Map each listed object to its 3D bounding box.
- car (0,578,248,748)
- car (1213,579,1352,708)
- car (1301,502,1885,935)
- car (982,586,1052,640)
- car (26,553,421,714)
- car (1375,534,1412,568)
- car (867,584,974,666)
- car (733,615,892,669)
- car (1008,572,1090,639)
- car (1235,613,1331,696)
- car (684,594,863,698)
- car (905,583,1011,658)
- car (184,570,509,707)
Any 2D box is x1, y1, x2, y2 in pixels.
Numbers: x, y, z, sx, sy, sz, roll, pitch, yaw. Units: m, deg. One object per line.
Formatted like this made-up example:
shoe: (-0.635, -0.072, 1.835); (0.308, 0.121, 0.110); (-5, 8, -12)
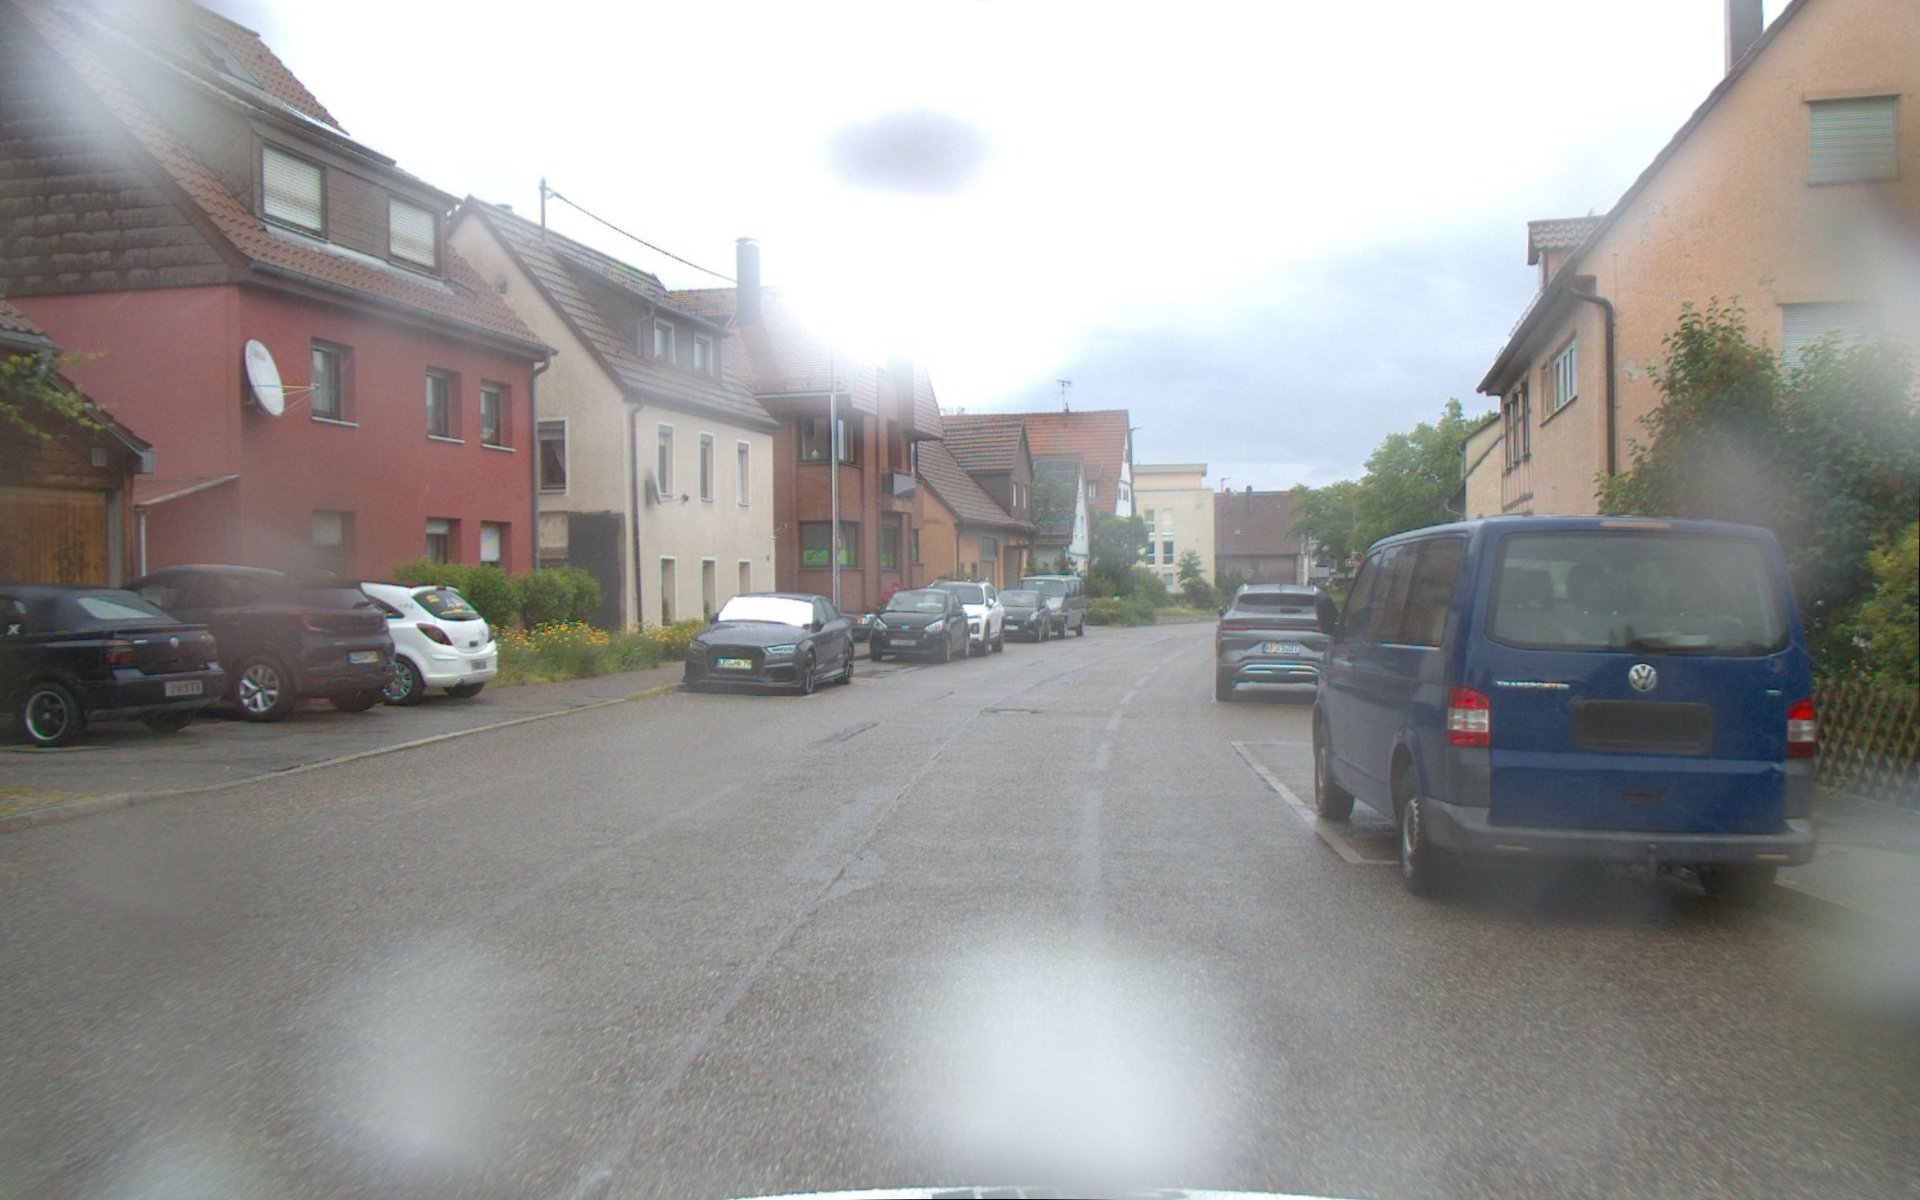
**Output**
car: (-8.579, 0.555, 15.240); (3.372, 1.443, 1.634); (-1, 0, 12)
car: (4.941, 0.608, 25.449); (1.868, 1.747, 4.559); (2, 0, 11)
car: (3.391, 0.537, 9.986); (1.890, 1.936, 4.795); (1, 0, 3)
car: (1.718, 0.362, 48.852); (1.544, 1.523, 3.570); (-1, 0, 11)
car: (-7.971, 0.326, 18.026); (3.500, 1.532, 1.857); (2, 0, 14)
car: (20.477, -2.305, 78.013); (1.603, 1.455, 3.679); (-1, 0, 16)
car: (-0.792, 0.505, 34.848); (1.571, 1.646, 3.279); (-1, 0, 11)
car: (-4.130, 1.184, 46.419); (4.084, 1.427, 1.790); (-1, 0, 17)
car: (2.963, 0.162, 53.740); (1.782, 2.049, 5.219); (-1, 0, 13)
car: (6.876, 1.111, 35.561); (1.764, 1.623, 4.615); (1, 0, 8)
car: (-2.695, 0.624, 24.798); (1.592, 1.379, 4.114); (2, 0, 9)
car: (0.020, 0.453, 39.133); (1.726, 1.647, 4.660); (-1, 0, 9)
car: (-7.494, 0.446, 20.308); (3.387, 1.505, 1.592); (1, 0, 12)
